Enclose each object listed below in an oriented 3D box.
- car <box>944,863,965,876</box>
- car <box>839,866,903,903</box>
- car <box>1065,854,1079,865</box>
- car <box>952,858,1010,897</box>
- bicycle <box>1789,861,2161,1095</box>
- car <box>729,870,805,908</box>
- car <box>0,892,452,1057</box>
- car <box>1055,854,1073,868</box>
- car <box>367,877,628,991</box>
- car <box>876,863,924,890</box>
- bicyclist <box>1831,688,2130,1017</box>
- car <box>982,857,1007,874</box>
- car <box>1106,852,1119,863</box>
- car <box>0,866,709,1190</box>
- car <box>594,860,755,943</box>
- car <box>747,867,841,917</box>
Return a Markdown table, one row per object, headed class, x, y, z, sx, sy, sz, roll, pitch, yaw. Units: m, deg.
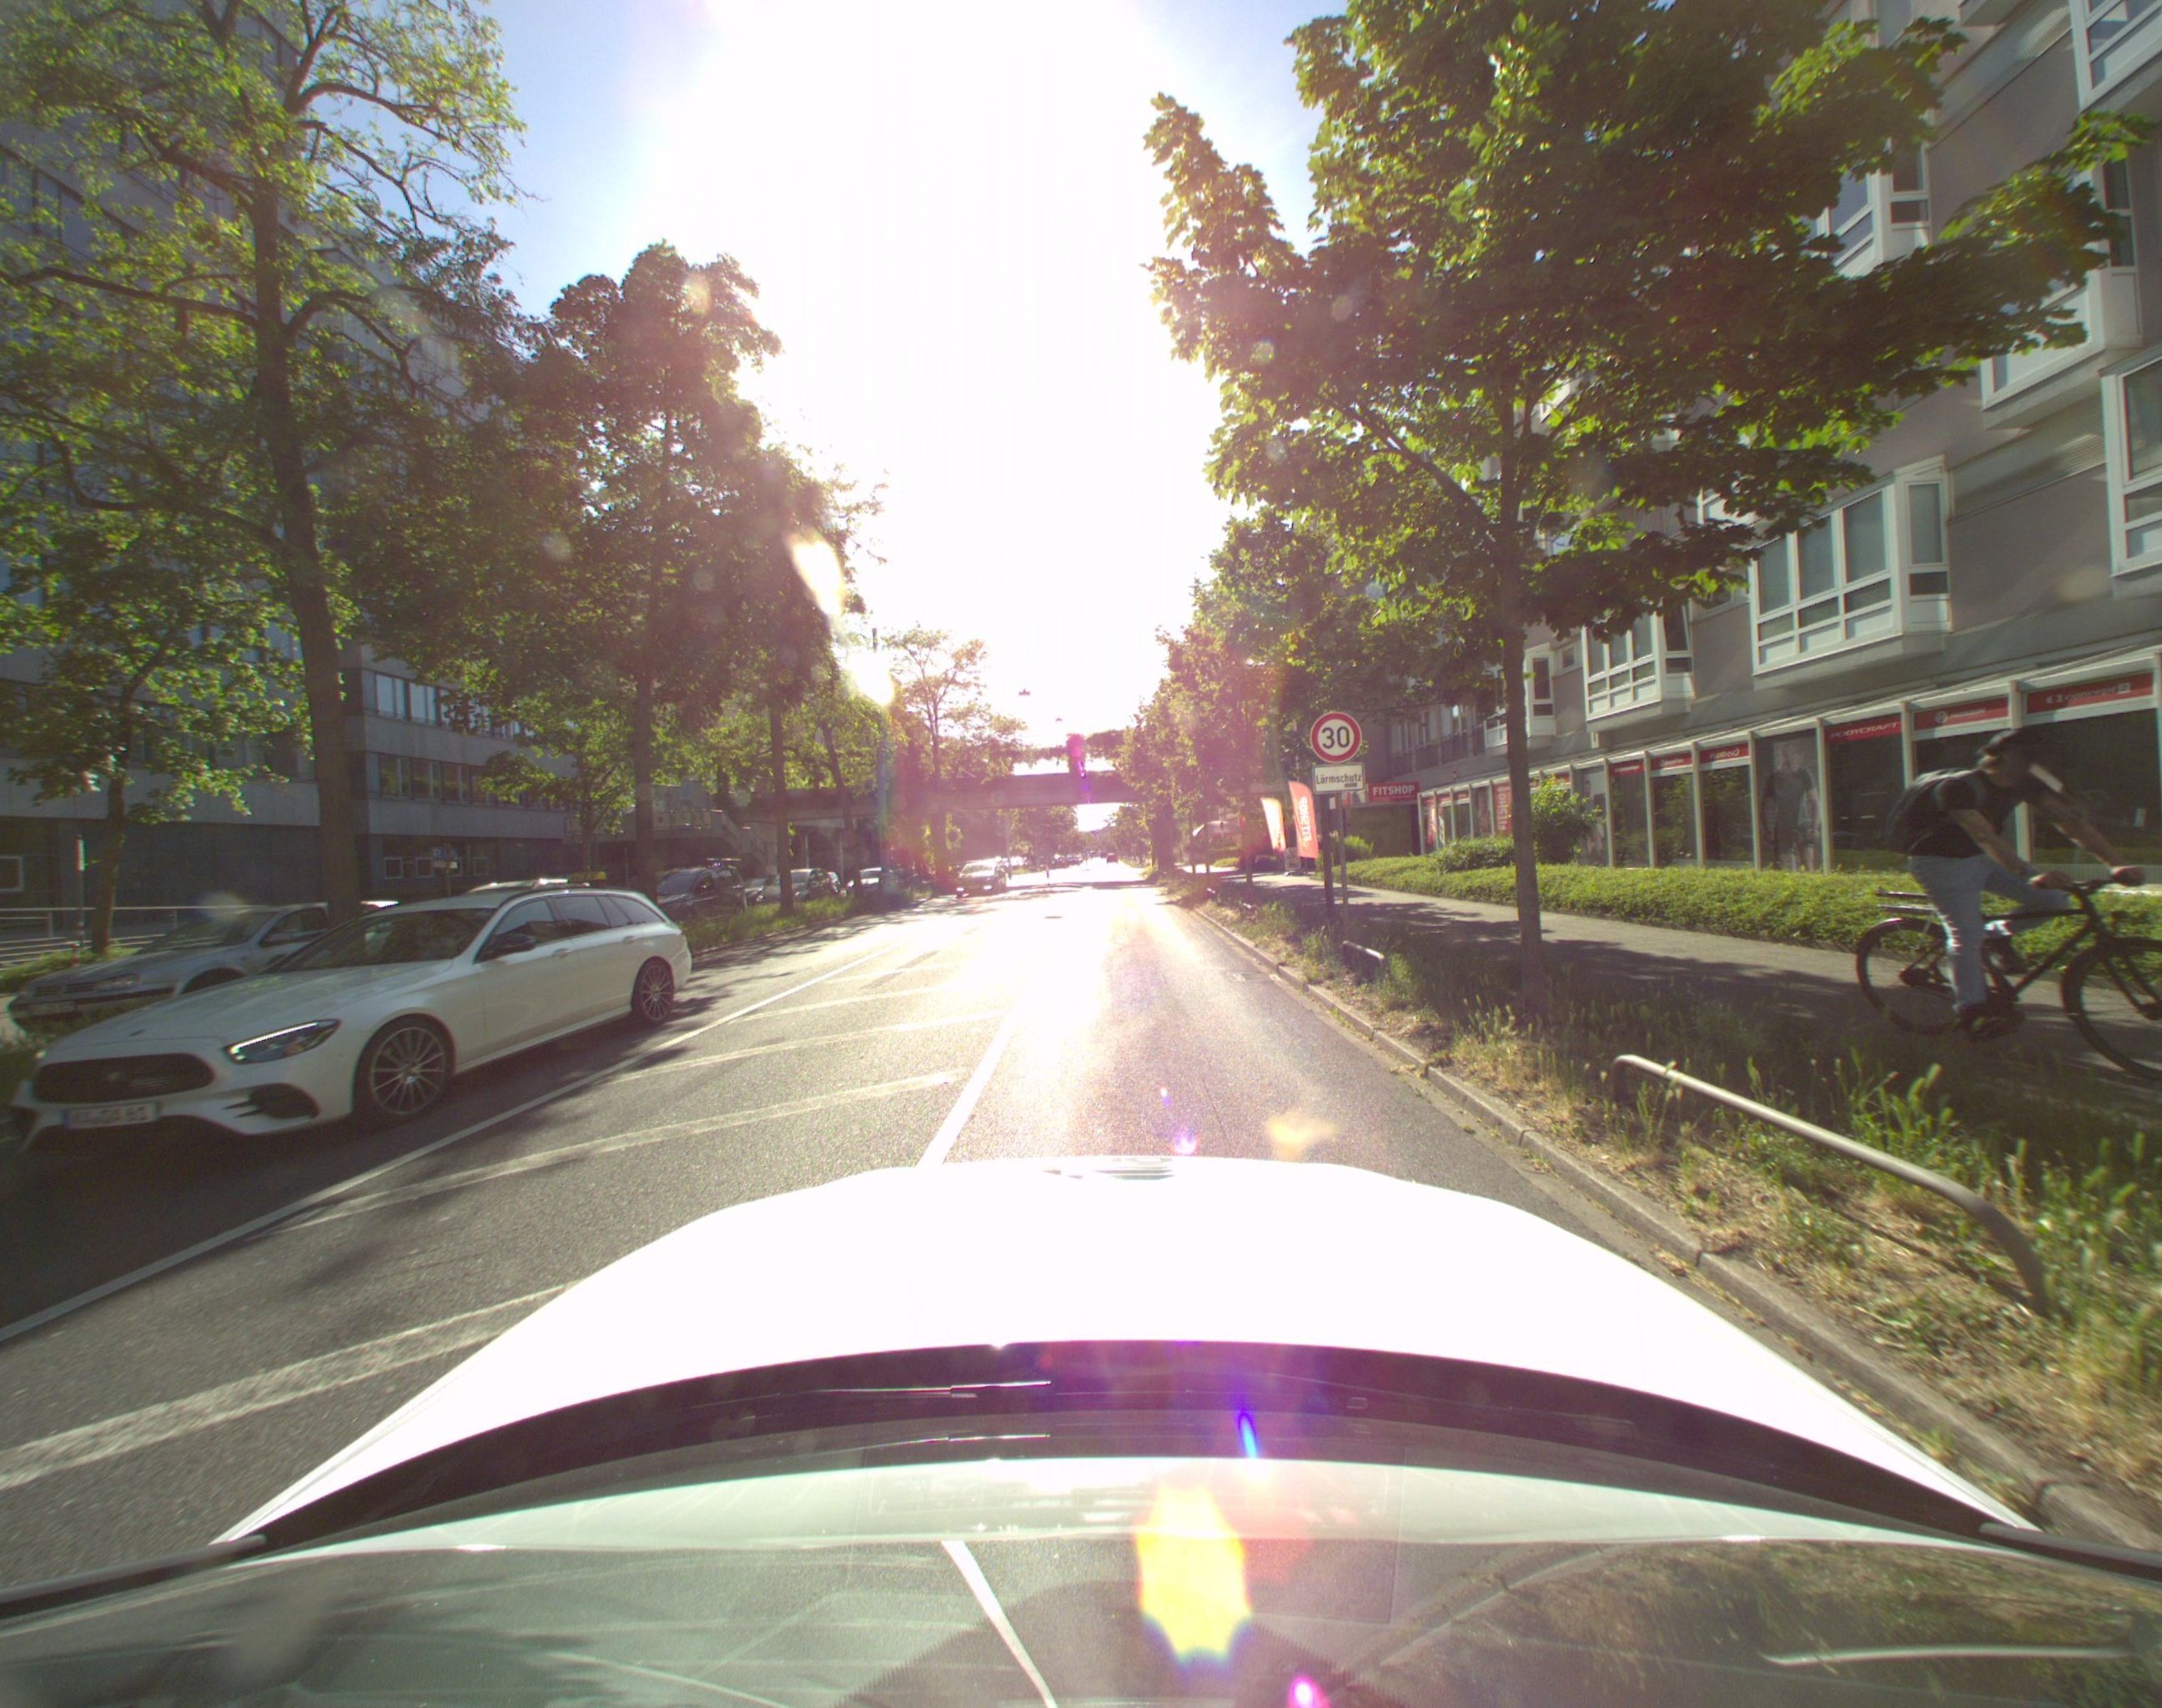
| class | x | y | z | sx | sy | sz | roll | pitch | yaw |
| --- | --- | --- | --- | --- | --- | --- | --- | --- | --- |
| car | -15.846 | 1.929 | 102.029 | 1.849 | 1.523 | 4.319 | -2 | 0 | 1 |
| car | -10.019 | 1.411 | 39.250 | 1.849 | 1.523 | 4.319 | -2 | 0 | 1 |
| car | -1.251 | 0.783 | 118.604 | 1.849 | 1.523 | 4.319 | -2 | 0 | 1 |
| car | -4.337 | 0.984 | 35.886 | 1.849 | 1.439 | 4.319 | -5 | 0 | 1 |
| bicycle | 5.123 | 0.567 | 4.609 | 0.587 | 1.027 | 1.860 | -3 | -1 | 1 |
| car | -15.299 | 1.684 | 39.938 | 1.849 | 1.523 | 4.319 | -4 | 0 | 1 |
| car | -10.982 | 1.408 | 10.845 | 1.848 | 1.523 | 4.067 | -2 | 0 | 3 |
| car | -1.959 | 0.799 | 93.068 | 1.849 | 1.523 | 4.319 | -2 | 0 | 1 |
| car | -10.937 | 1.381 | 15.805 | 1.852 | 1.684 | 4.659 | -2 | 0 | -4 |
| car | -9.614 | 1.169 | 43.456 | 1.627 | 1.307 | 3.583 | -2 | 0 | 1 |
| bicyclist | 5.109 | -0.007 | 4.700 | 0.665 | 1.695 | 0.889 | -2 | -1 | 0 |
| car | -8.388 | 1.141 | 79.428 | 1.849 | 1.523 | 4.319 | -2 | 0 | 1 |
| car | 4.614 | 0.444 | 118.855 | 1.848 | 1.523 | 4.322 | -2 | 0 | 3 |
| car | -5.270 | 1.007 | 6.879 | 1.849 | 1.568 | 4.716 | -6 | 0 | 1 |
| car | -10.580 | 1.149 | 21.627 | 1.849 | 1.850 | 4.562 | -2 | 0 | 1 |
| car | -10.290 | 1.321 | 29.556 | 1.848 | 1.568 | 3.874 | -2 | 0 | 2 |
